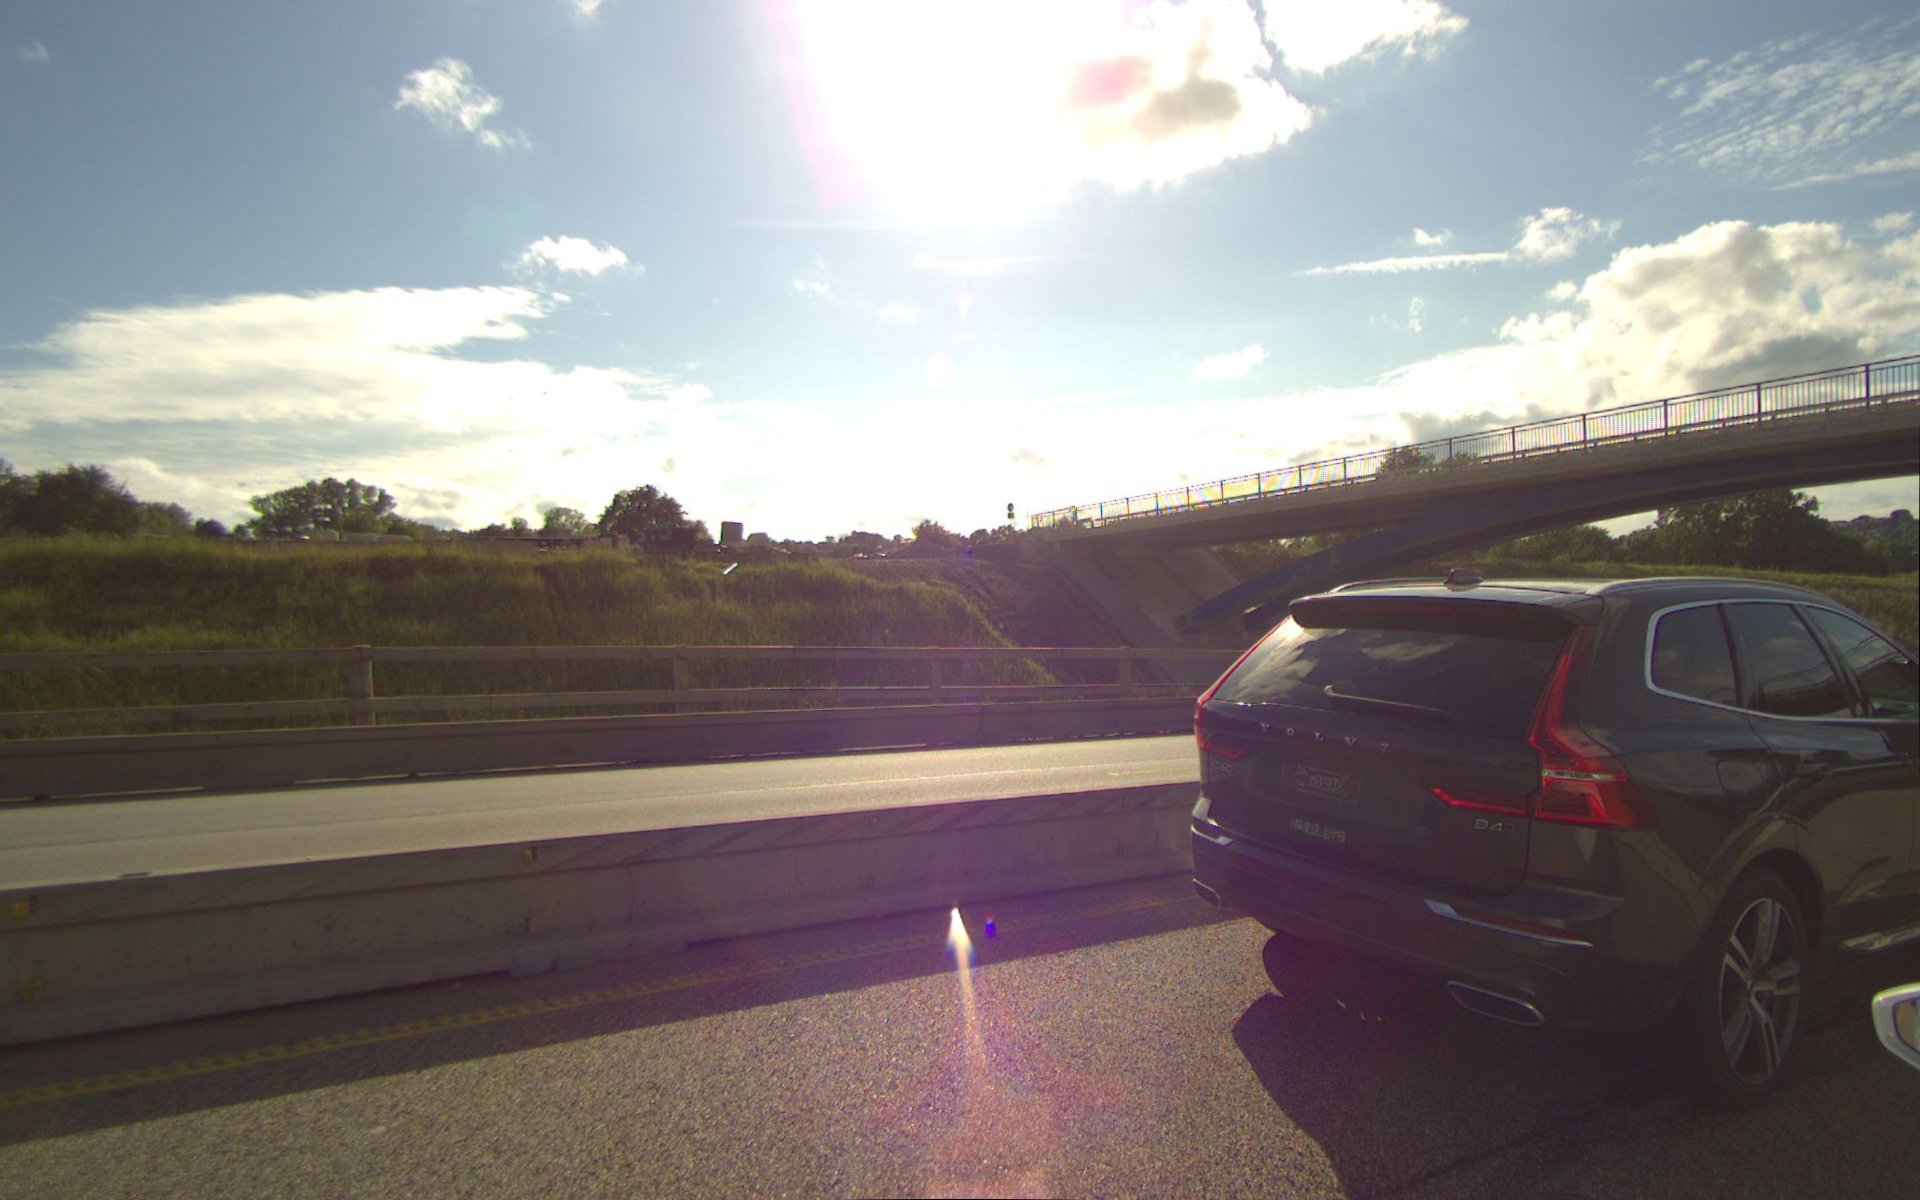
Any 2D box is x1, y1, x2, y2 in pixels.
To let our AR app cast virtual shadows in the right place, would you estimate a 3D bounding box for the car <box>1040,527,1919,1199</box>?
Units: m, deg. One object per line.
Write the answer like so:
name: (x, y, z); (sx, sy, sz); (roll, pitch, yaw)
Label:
car: (2.840, 0.700, 4.358); (4.694, 1.646, 1.984); (1, -1, -30)
